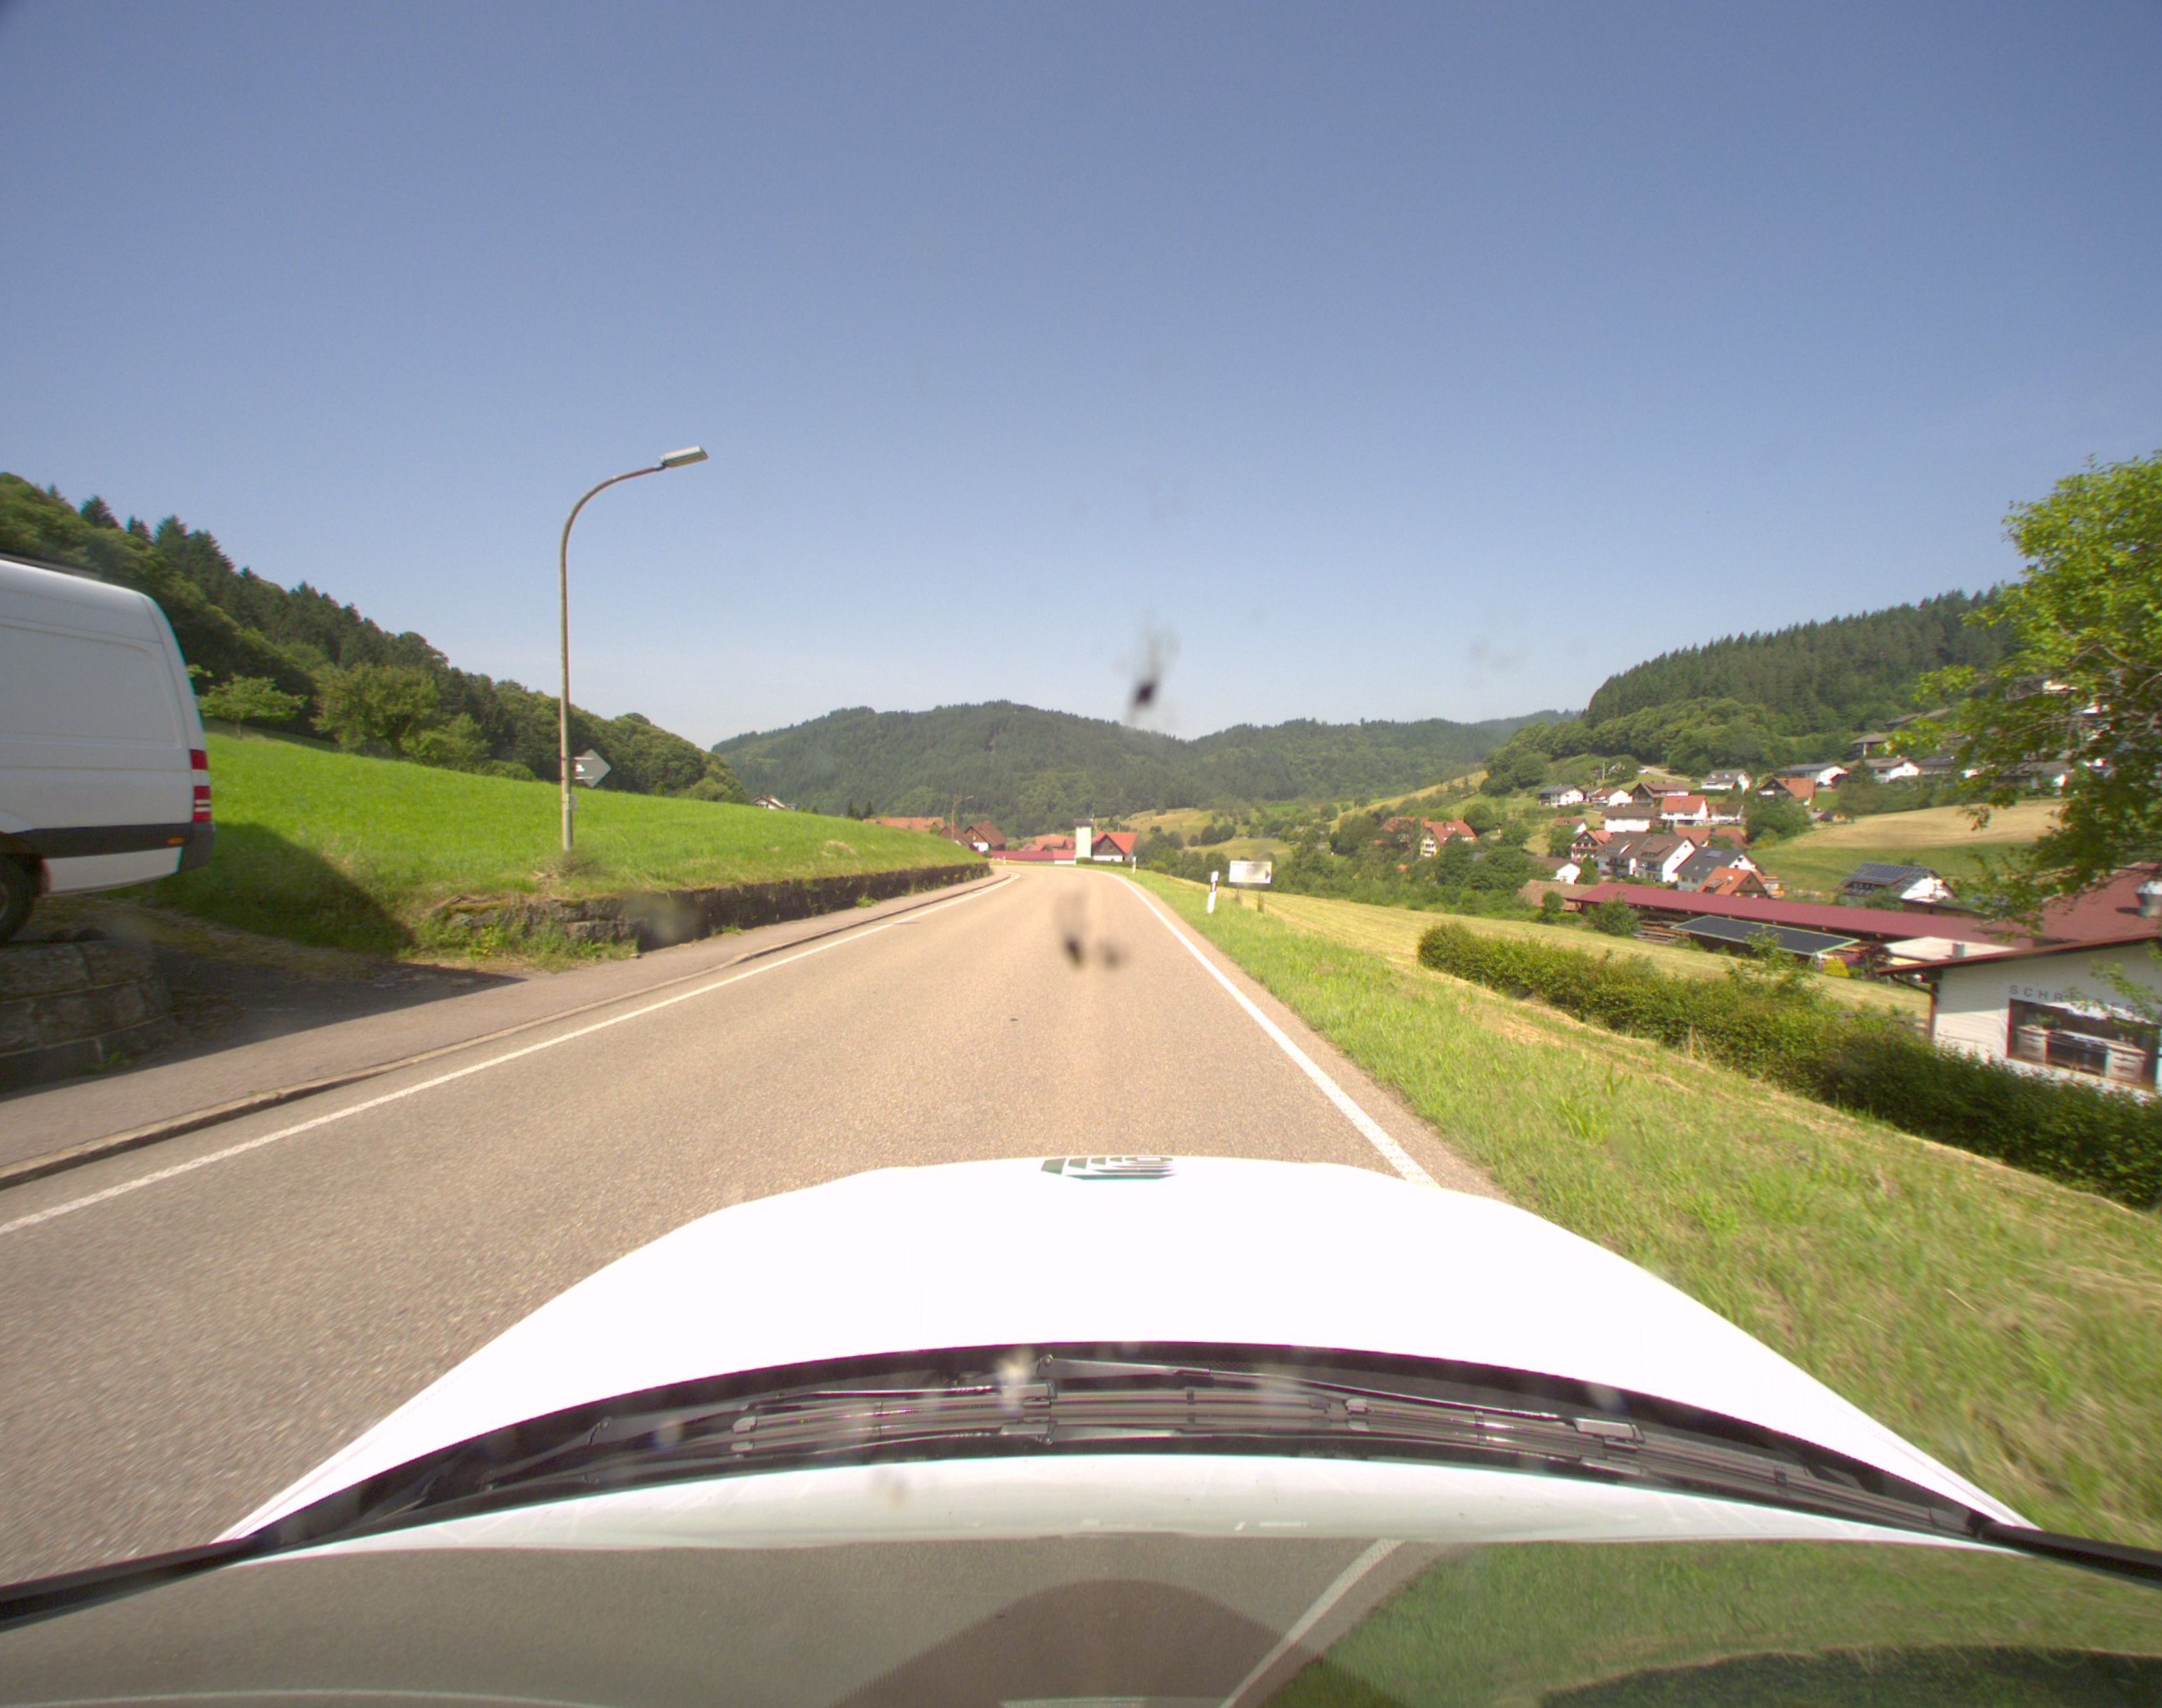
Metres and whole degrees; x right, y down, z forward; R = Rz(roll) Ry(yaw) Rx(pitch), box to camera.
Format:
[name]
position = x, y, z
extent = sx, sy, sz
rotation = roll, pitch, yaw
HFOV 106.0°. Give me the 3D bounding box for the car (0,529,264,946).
[car]
position = -8.031, -0.674, 3.353
extent = 2.061, 2.687, 7.175
rotation = 2, 3, 0
